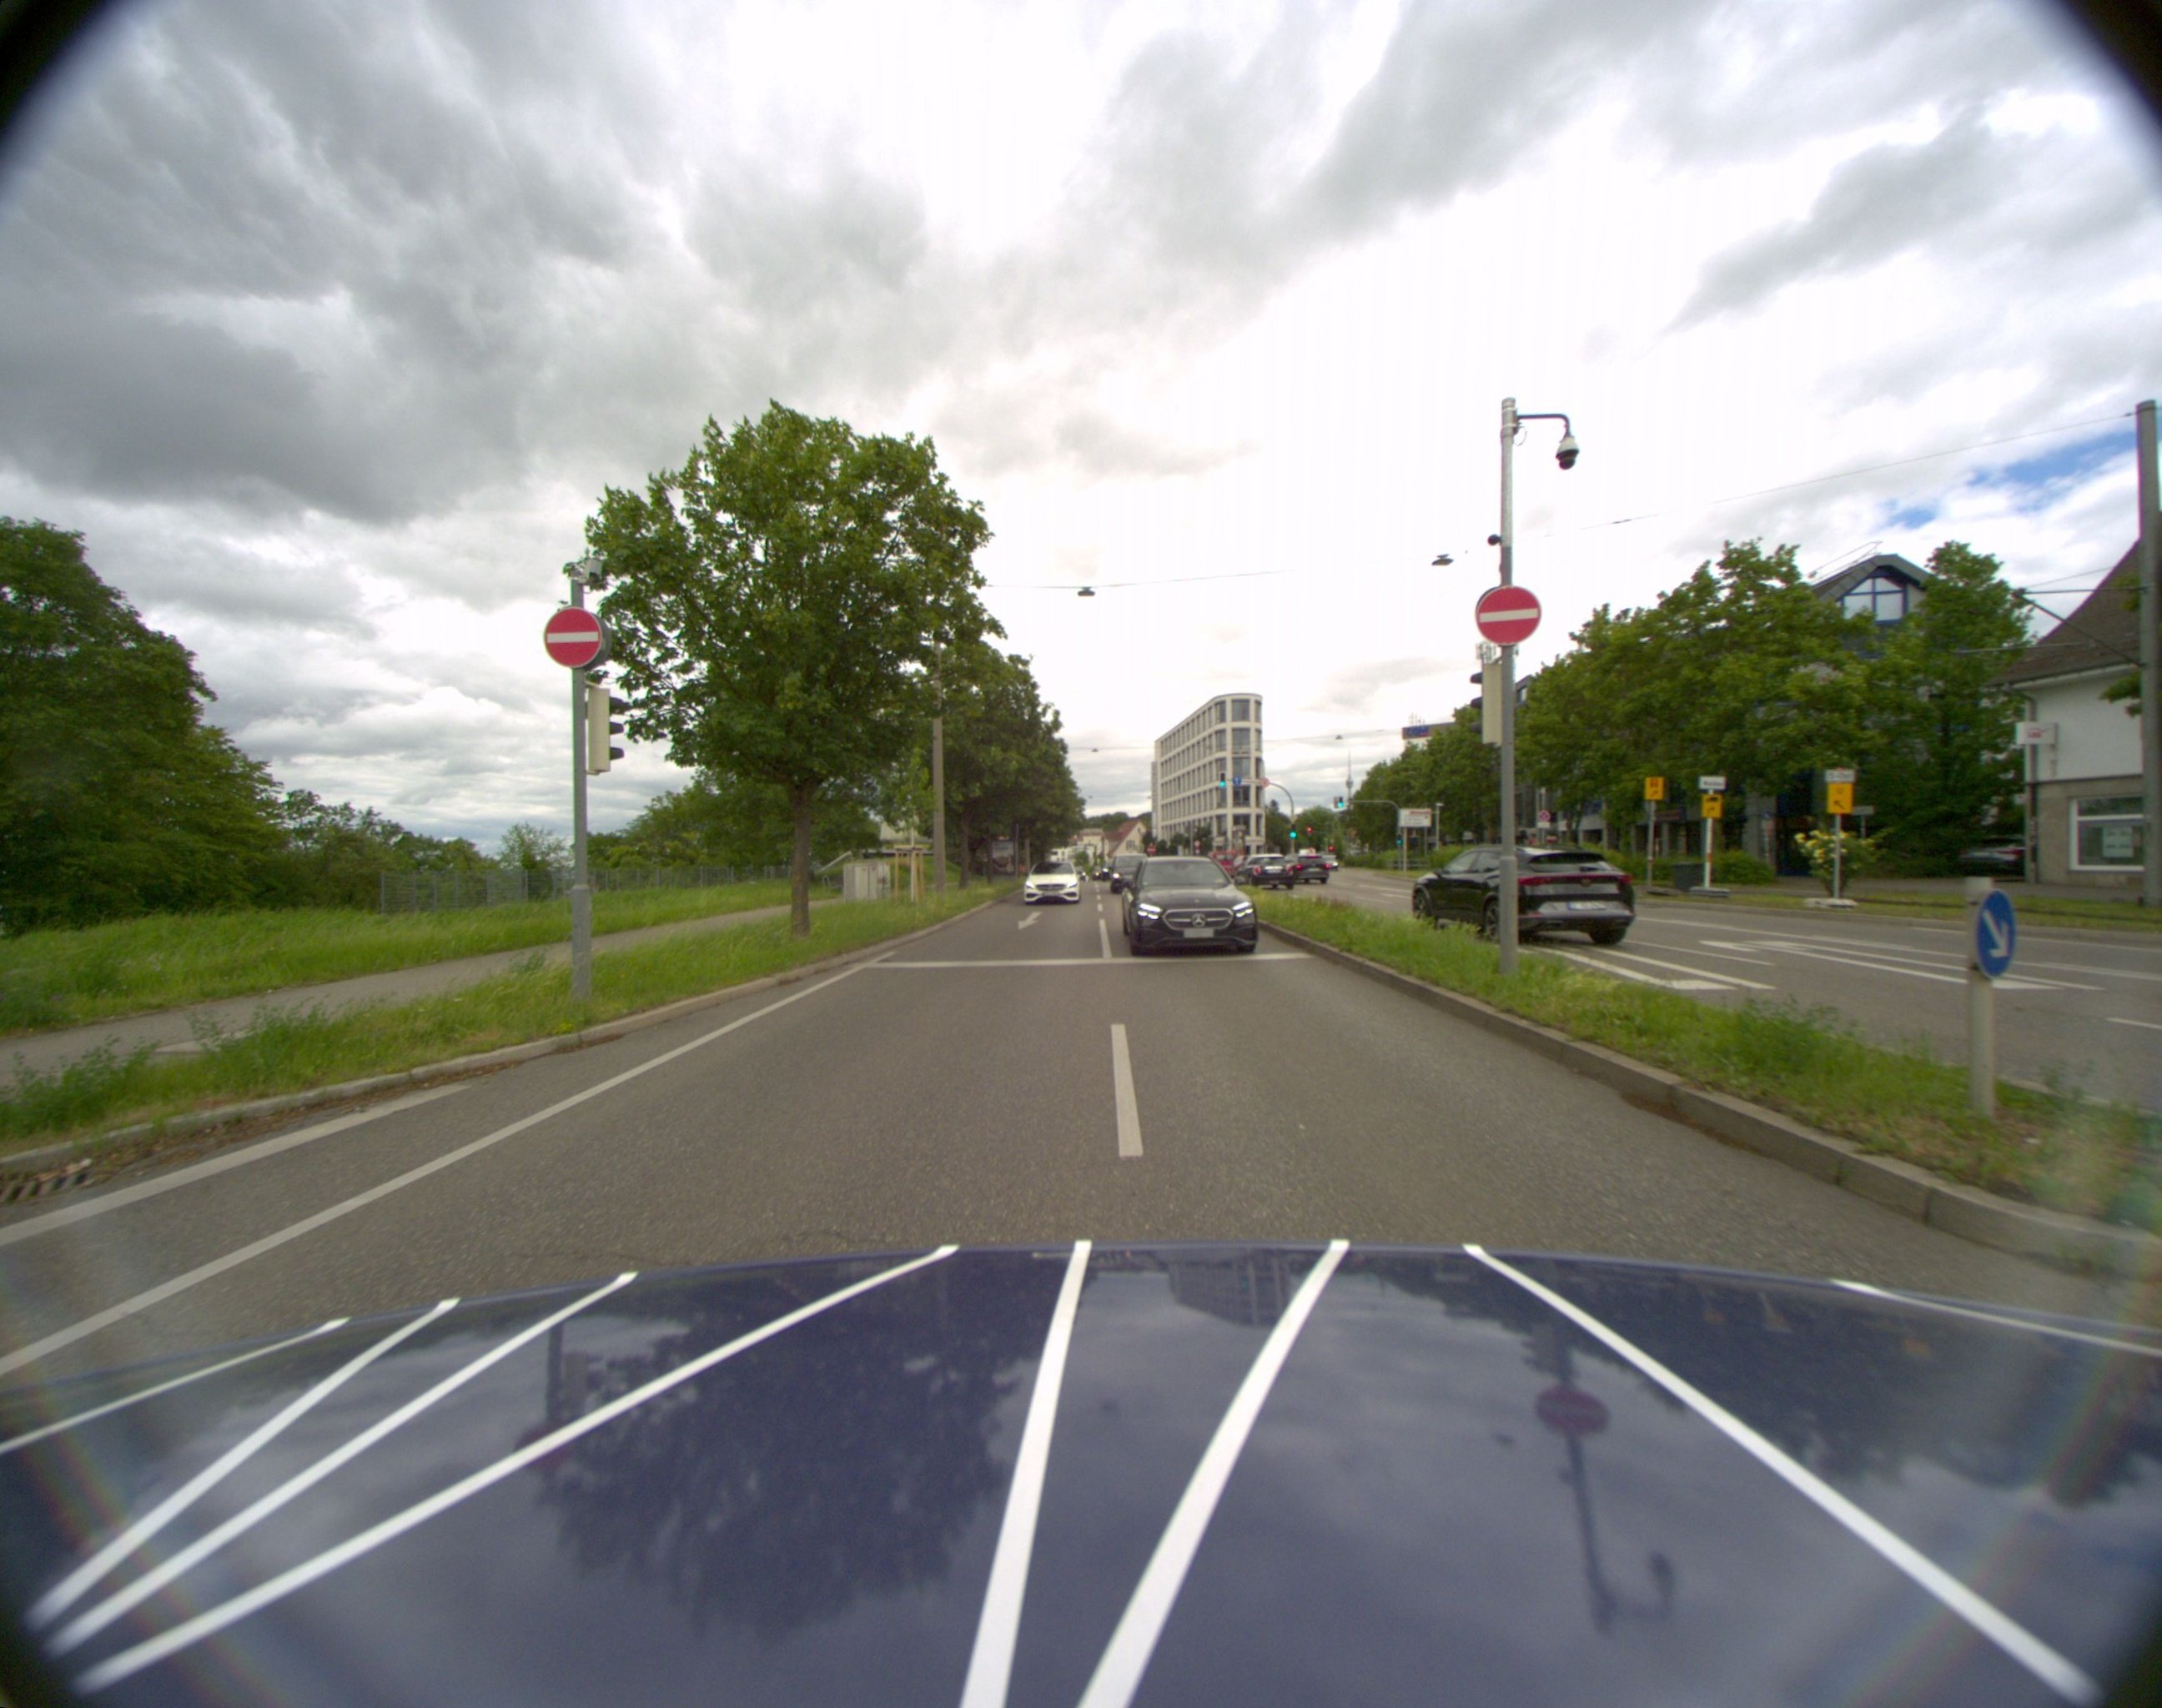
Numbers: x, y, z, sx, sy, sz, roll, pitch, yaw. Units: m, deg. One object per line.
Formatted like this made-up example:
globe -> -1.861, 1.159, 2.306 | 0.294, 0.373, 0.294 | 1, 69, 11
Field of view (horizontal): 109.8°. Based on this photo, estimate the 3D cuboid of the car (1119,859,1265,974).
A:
car -> 1.675, 0.893, 13.042 | 1.872, 1.542, 4.773 | -1, 0, 1

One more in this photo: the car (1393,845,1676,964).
car -> 7.171, 0.679, 12.762 | 1.954, 1.585, 4.773 | -1, 0, 1

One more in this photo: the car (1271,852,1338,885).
car -> 10.676, 0.644, 36.641 | 1.954, 1.463, 4.543 | -1, 0, 1

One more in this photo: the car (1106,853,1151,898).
car -> 2.035, 0.852, 32.383 | 1.734, 1.680, 4.369 | -2, 1, 4

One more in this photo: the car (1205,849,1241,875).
car -> 10.851, 0.608, 58.461 | 1.954, 1.896, 4.543 | -1, 0, 1

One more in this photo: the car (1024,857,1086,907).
car -> -0.814, 0.895, 26.463 | 1.872, 1.496, 4.773 | -1, 0, 1

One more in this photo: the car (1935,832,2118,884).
car -> 31.414, 0.117, 25.316 | 3.999, 1.587, 1.999 | -1, 0, -7

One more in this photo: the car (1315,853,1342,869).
car -> 23.443, 0.633, 72.173 | 1.952, 1.463, 4.547 | -1, 0, 12

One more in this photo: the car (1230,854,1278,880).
car -> 10.394, 0.744, 45.996 | 1.954, 1.463, 4.543 | -1, 0, 1

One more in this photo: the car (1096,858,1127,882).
car -> 2.148, 1.090, 52.695 | 1.734, 1.474, 4.371 | -2, 0, 7

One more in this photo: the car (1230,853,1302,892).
car -> 7.635, 0.710, 31.726 | 1.954, 1.463, 4.543 | -1, 0, 1
